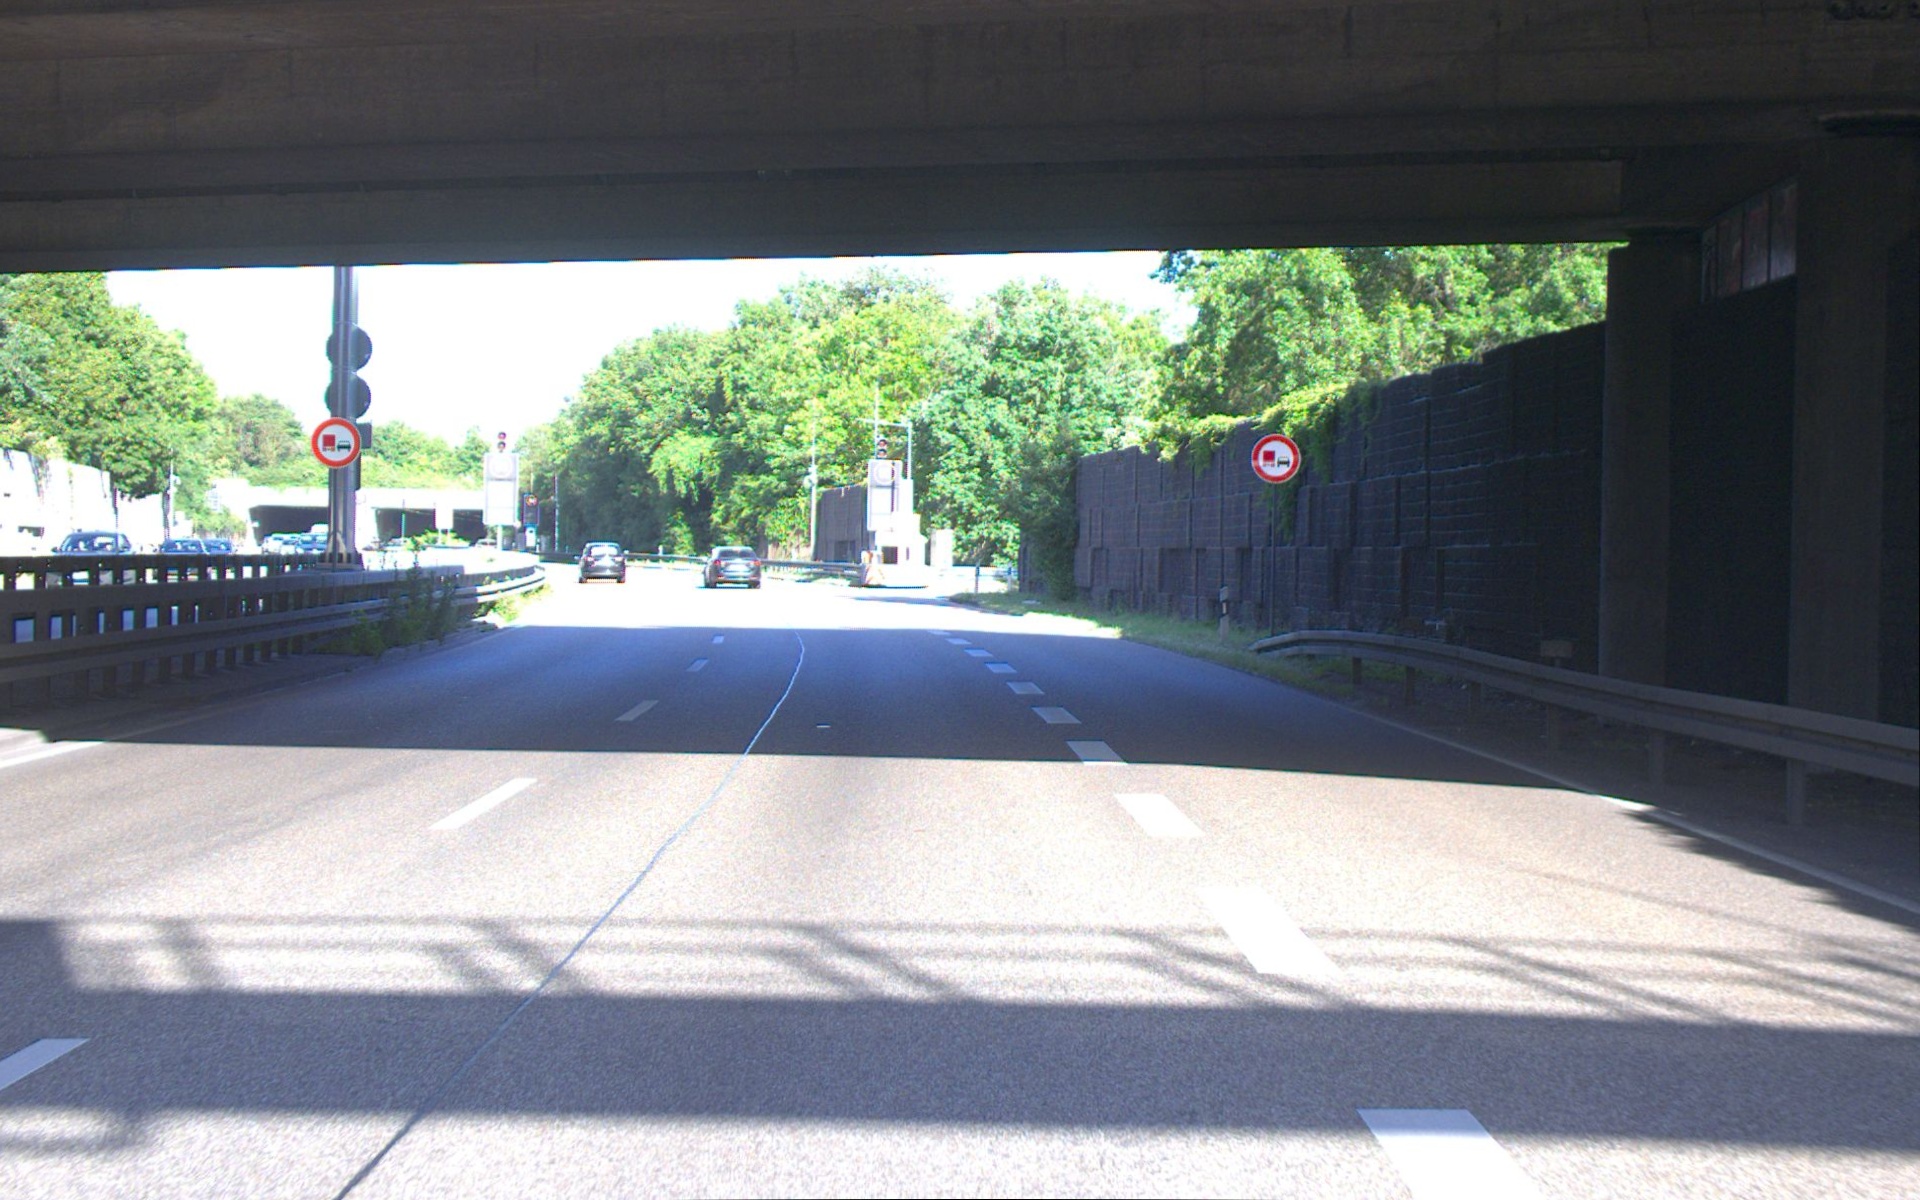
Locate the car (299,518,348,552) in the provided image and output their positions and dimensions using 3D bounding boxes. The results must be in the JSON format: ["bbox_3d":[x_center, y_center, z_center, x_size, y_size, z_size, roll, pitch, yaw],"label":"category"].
[{"bbox_3d":[-31.247,-3.213,168.884,1.897,1.568,4.809,3,1,-6],"label":"car"}]

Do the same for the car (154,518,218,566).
[{"bbox_3d":[-27.032,-2.040,120.163,1.545,1.568,4.397,3,1,-6],"label":"car"}]

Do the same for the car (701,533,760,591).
[{"bbox_3d":[-8.028,-1.357,120.260,1.993,1.919,4.001,2,1,-4],"label":"car"}]

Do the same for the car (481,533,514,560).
[{"bbox_3d":[-34.624,-4.024,257.289,1.993,1.919,4.001,2,1,-13],"label":"car"}]

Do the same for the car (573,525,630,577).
[{"bbox_3d":[-13.956,-1.932,134.104,1.993,1.919,4.001,2,1,-4],"label":"car"}]

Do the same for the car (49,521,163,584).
[{"bbox_3d":[-22.384,-1.264,90.300,1.993,1.590,4.427,1,1,-2],"label":"car"}]

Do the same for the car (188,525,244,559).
[{"bbox_3d":[-32.013,-2.490,148.019,1.897,1.417,4.136,0,1,-6],"label":"car"}]
